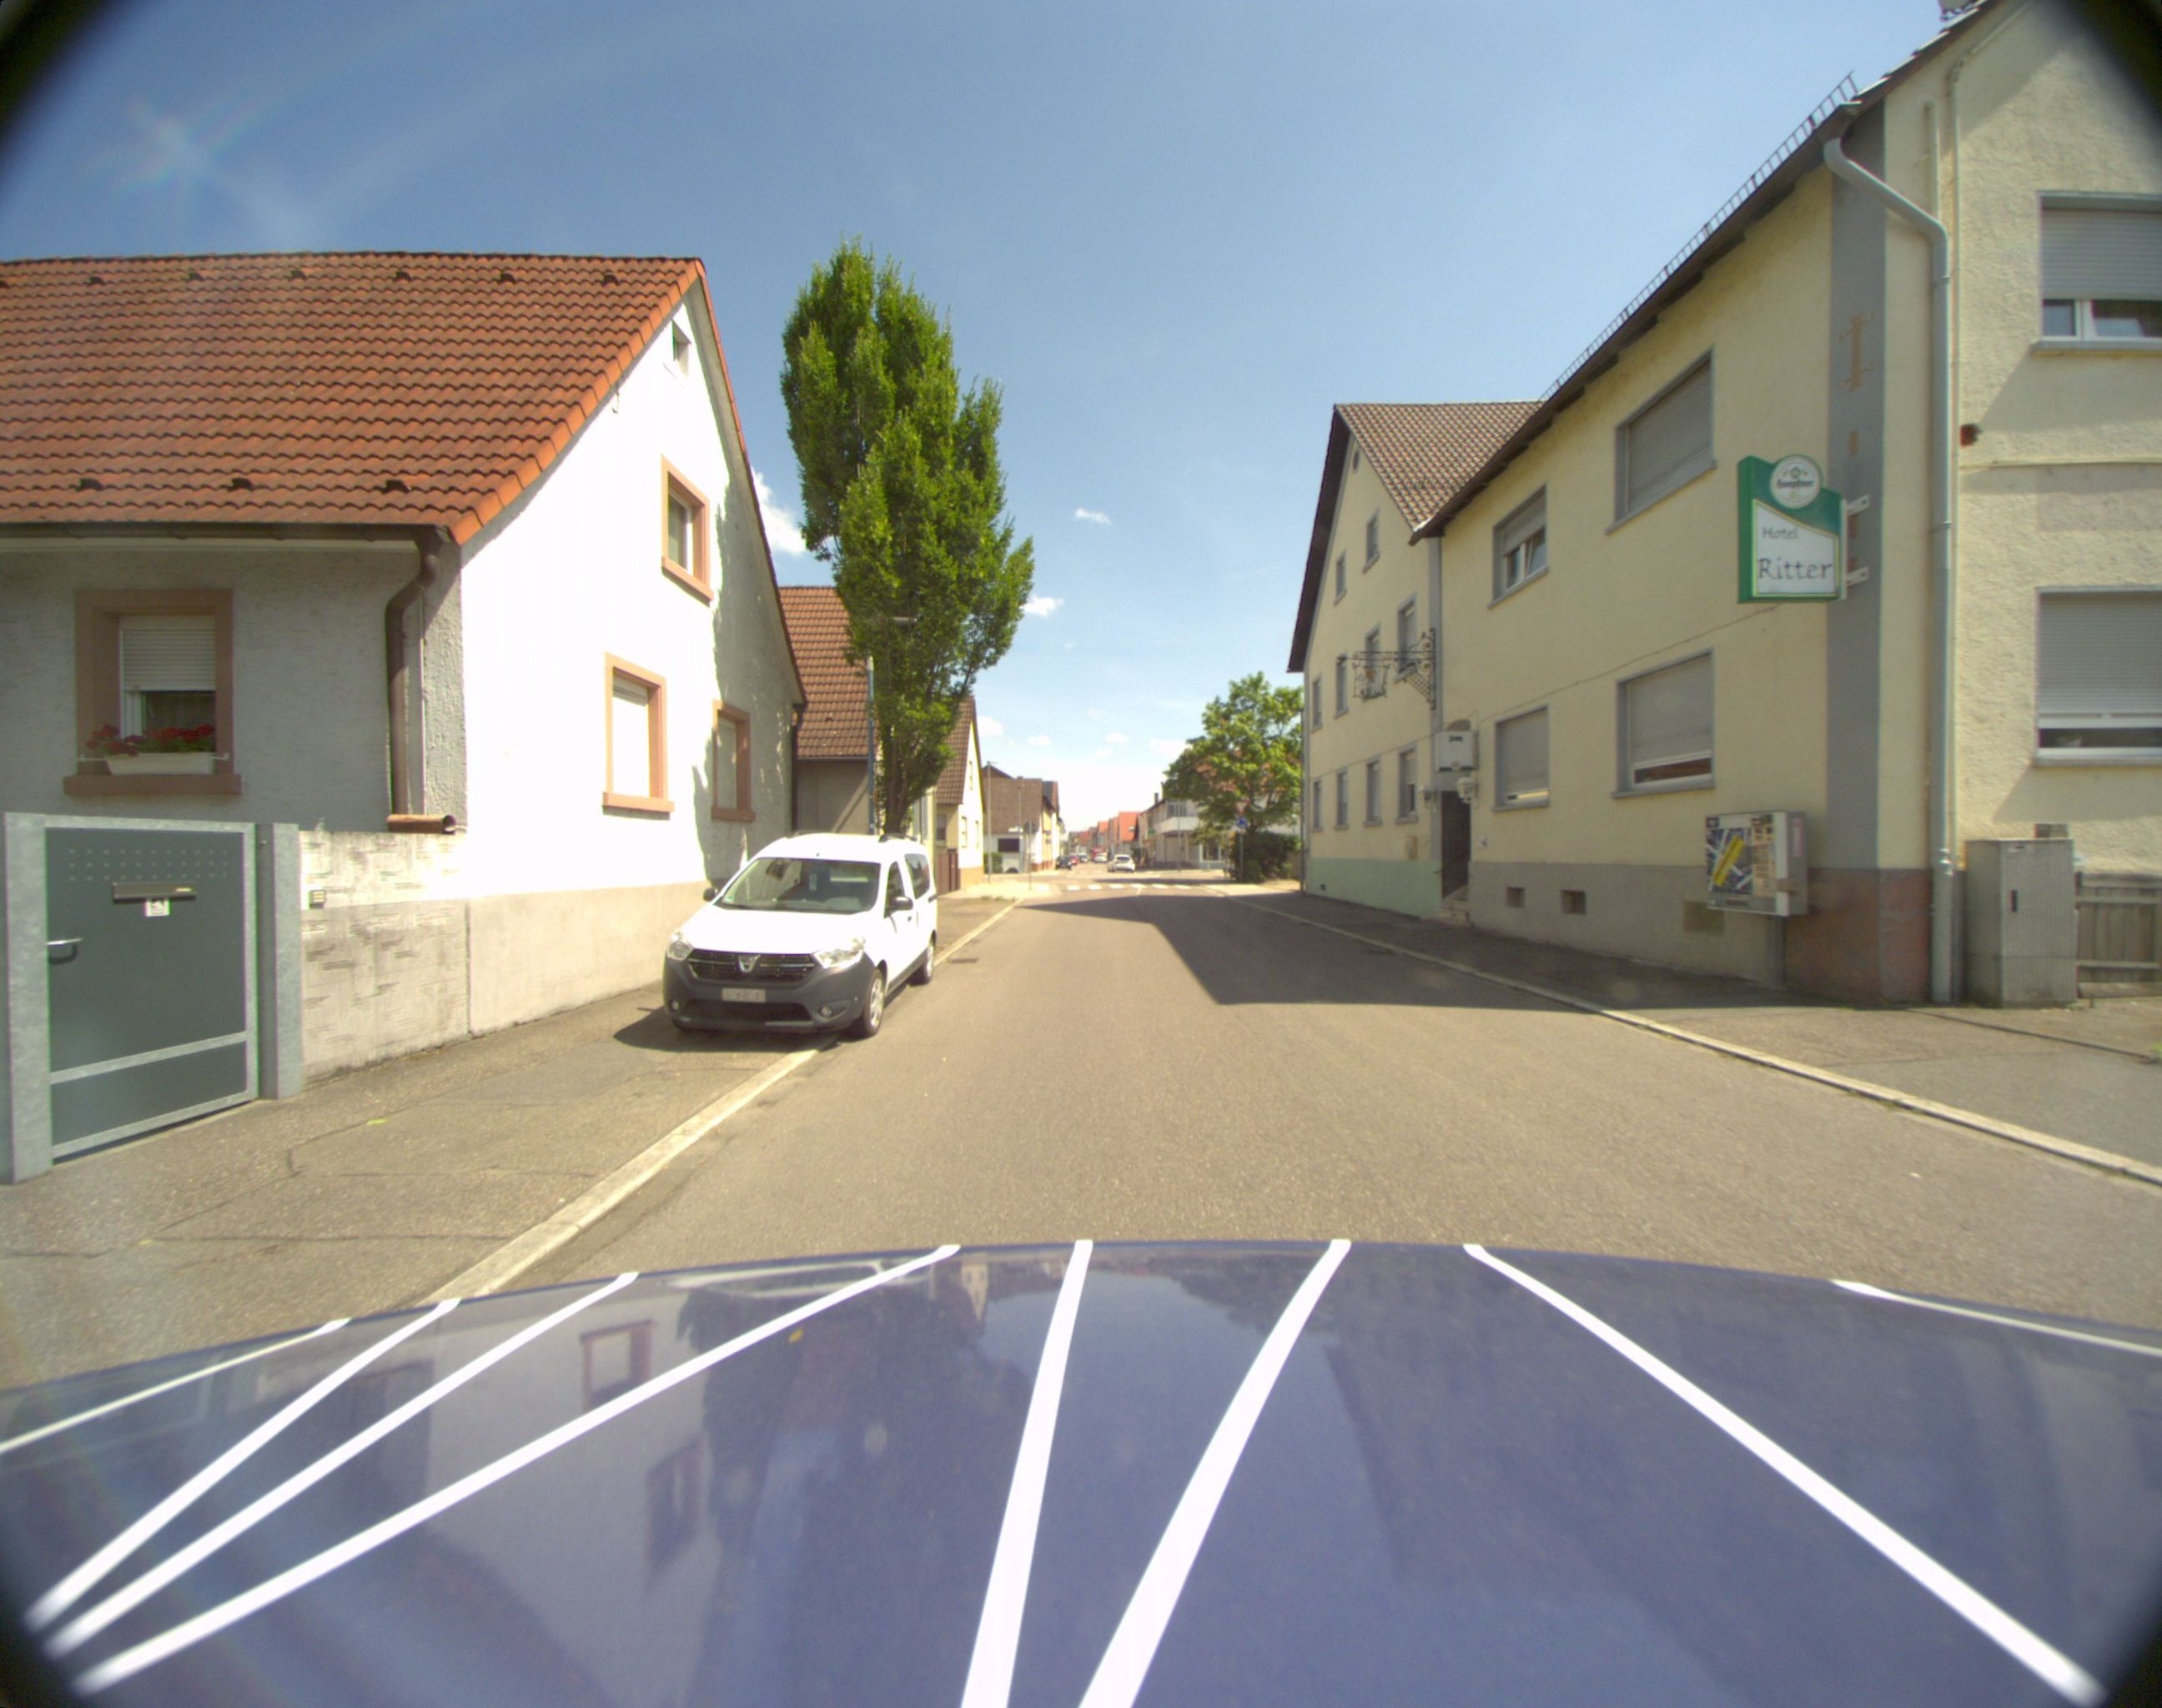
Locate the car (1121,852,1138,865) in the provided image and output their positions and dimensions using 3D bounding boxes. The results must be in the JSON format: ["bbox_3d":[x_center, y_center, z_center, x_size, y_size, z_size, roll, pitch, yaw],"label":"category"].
[{"bbox_3d":[5.487,0.541,86.581,1.726,1.385,4.170,-1,-2,2],"label":"car"}]

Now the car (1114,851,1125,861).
[{"bbox_3d":[5.838,0.332,115.583,1.726,1.385,4.170,-1,-2,2],"label":"car"}]

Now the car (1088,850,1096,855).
[{"bbox_3d":[3.101,-0.308,213.696,1.727,1.385,4.166,-2,0,-4],"label":"car"}]

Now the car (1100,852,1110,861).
[{"bbox_3d":[4.153,0.520,130.249,1.726,1.385,4.170,-1,-2,2],"label":"car"}]

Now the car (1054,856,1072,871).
[{"bbox_3d":[-1.774,1.005,76.225,1.598,1.385,4.170,-1,-2,1],"label":"car"}]

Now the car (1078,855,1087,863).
[{"bbox_3d":[0.288,0.842,132.849,1.598,1.385,4.168,-2,0,0],"label":"car"}]

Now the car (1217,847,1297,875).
[{"bbox_3d":[10.851,0.423,46.982,4.449,1.609,1.806,-2,1,-15],"label":"car"}]

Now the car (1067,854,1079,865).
[{"bbox_3d":[-1.110,0.795,104.768,1.598,1.385,4.170,-1,-2,1],"label":"car"}]

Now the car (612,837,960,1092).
[{"bbox_3d":[-2.560,0.806,7.984,1.692,1.832,4.764,2,0,1],"label":"car"}]

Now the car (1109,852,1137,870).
[{"bbox_3d":[3.396,0.571,62.215,1.599,1.385,4.165,-2,0,-7],"label":"car"}]

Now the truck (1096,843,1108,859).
[{"bbox_3d":[4.484,-0.675,164.920,1.999,3.420,7.073,-2,1,-2],"label":"truck"}]

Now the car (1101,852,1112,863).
[{"bbox_3d":[4.992,0.757,149.207,1.727,2.097,4.167,-2,0,-1],"label":"car"}]
